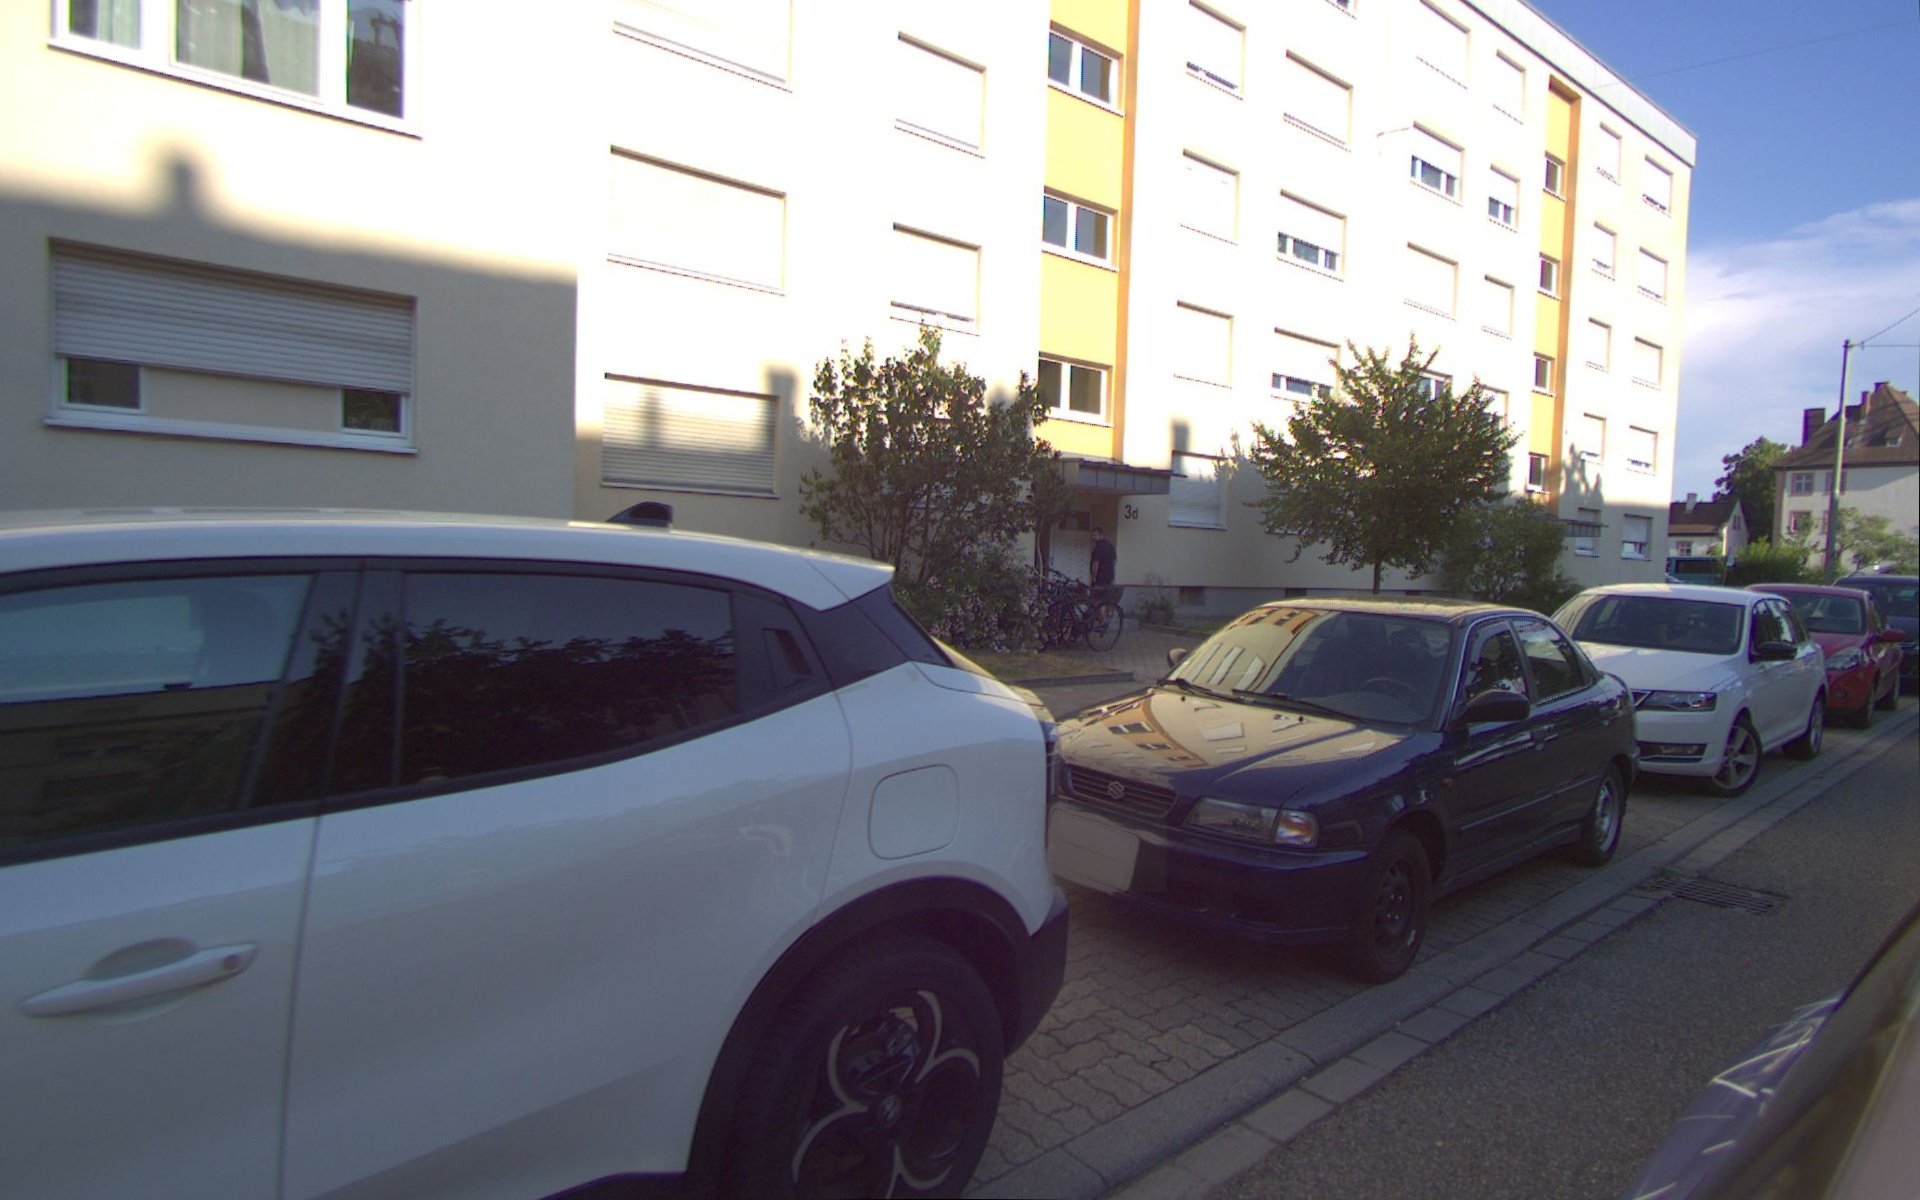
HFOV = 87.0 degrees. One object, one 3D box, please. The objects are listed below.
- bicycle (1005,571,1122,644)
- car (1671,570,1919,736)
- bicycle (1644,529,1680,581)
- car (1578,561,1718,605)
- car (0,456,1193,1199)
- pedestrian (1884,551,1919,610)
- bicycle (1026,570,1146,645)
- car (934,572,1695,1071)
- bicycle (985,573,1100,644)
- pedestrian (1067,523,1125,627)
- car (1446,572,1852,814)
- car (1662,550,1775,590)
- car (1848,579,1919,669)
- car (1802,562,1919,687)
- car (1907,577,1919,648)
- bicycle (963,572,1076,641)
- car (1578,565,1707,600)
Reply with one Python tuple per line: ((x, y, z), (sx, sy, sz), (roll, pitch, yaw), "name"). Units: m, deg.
((1.457, 0.080, 14.067), (1.757, 0.953, 0.439), (-2, 1, -35), "bicycle")
((10.146, 0.473, 12.088), (3.930, 1.636, 1.775), (-2, 2, -40), "car")
((16.942, -1.095, 24.416), (0.334, 1.204, 1.221), (12, 10, 43), "bicycle")
((28.586, -0.757, 42.194), (1.700, 1.621, 4.492), (-1, 4, -36), "car")
((-1.521, 0.472, 1.968), (3.932, 1.459, 1.878), (-2, 7, -42), "car")
((31.134, -0.652, 33.332), (1.257, 1.914, 0.890), (-1, 1, -40), "pedestrian")
((1.719, 0.084, 13.672), (1.757, 0.953, 0.439), (-2, 1, -35), "bicycle")
((2.038, 0.614, 5.020), (4.238, 1.456, 1.664), (-2, 1, -41), "car")
((1.193, 0.104, 14.469), (1.757, 0.953, 0.439), (-2, 1, -35), "bicycle")
((2.286, -0.434, 17.017), (0.527, 1.678, 0.768), (-1, 5, -40), "pedestrian")
((5.797, 0.537, 8.351), (3.930, 1.471, 1.775), (-2, 3, -40), "car")
((36.291, -1.417, 48.504), (1.964, 1.816, 3.996), (-2, 1, -39), "car")
((18.255, 0.386, 18.929), (3.928, 1.527, 1.776), (-2, 1, -38), "car")
((14.681, 0.273, 15.648), (4.565, 1.698, 1.775), (-2, 3, -40), "car")
((23.151, 0.254, 23.133), (4.543, 1.525, 1.802), (-2, 3, -42), "car")
((0.891, 0.072, 14.849), (1.757, 0.953, 0.439), (-2, 1, -35), "bicycle")
((30.376, -0.793, 45.154), (1.700, 1.473, 4.490), (-1, 1, -36), "car")
